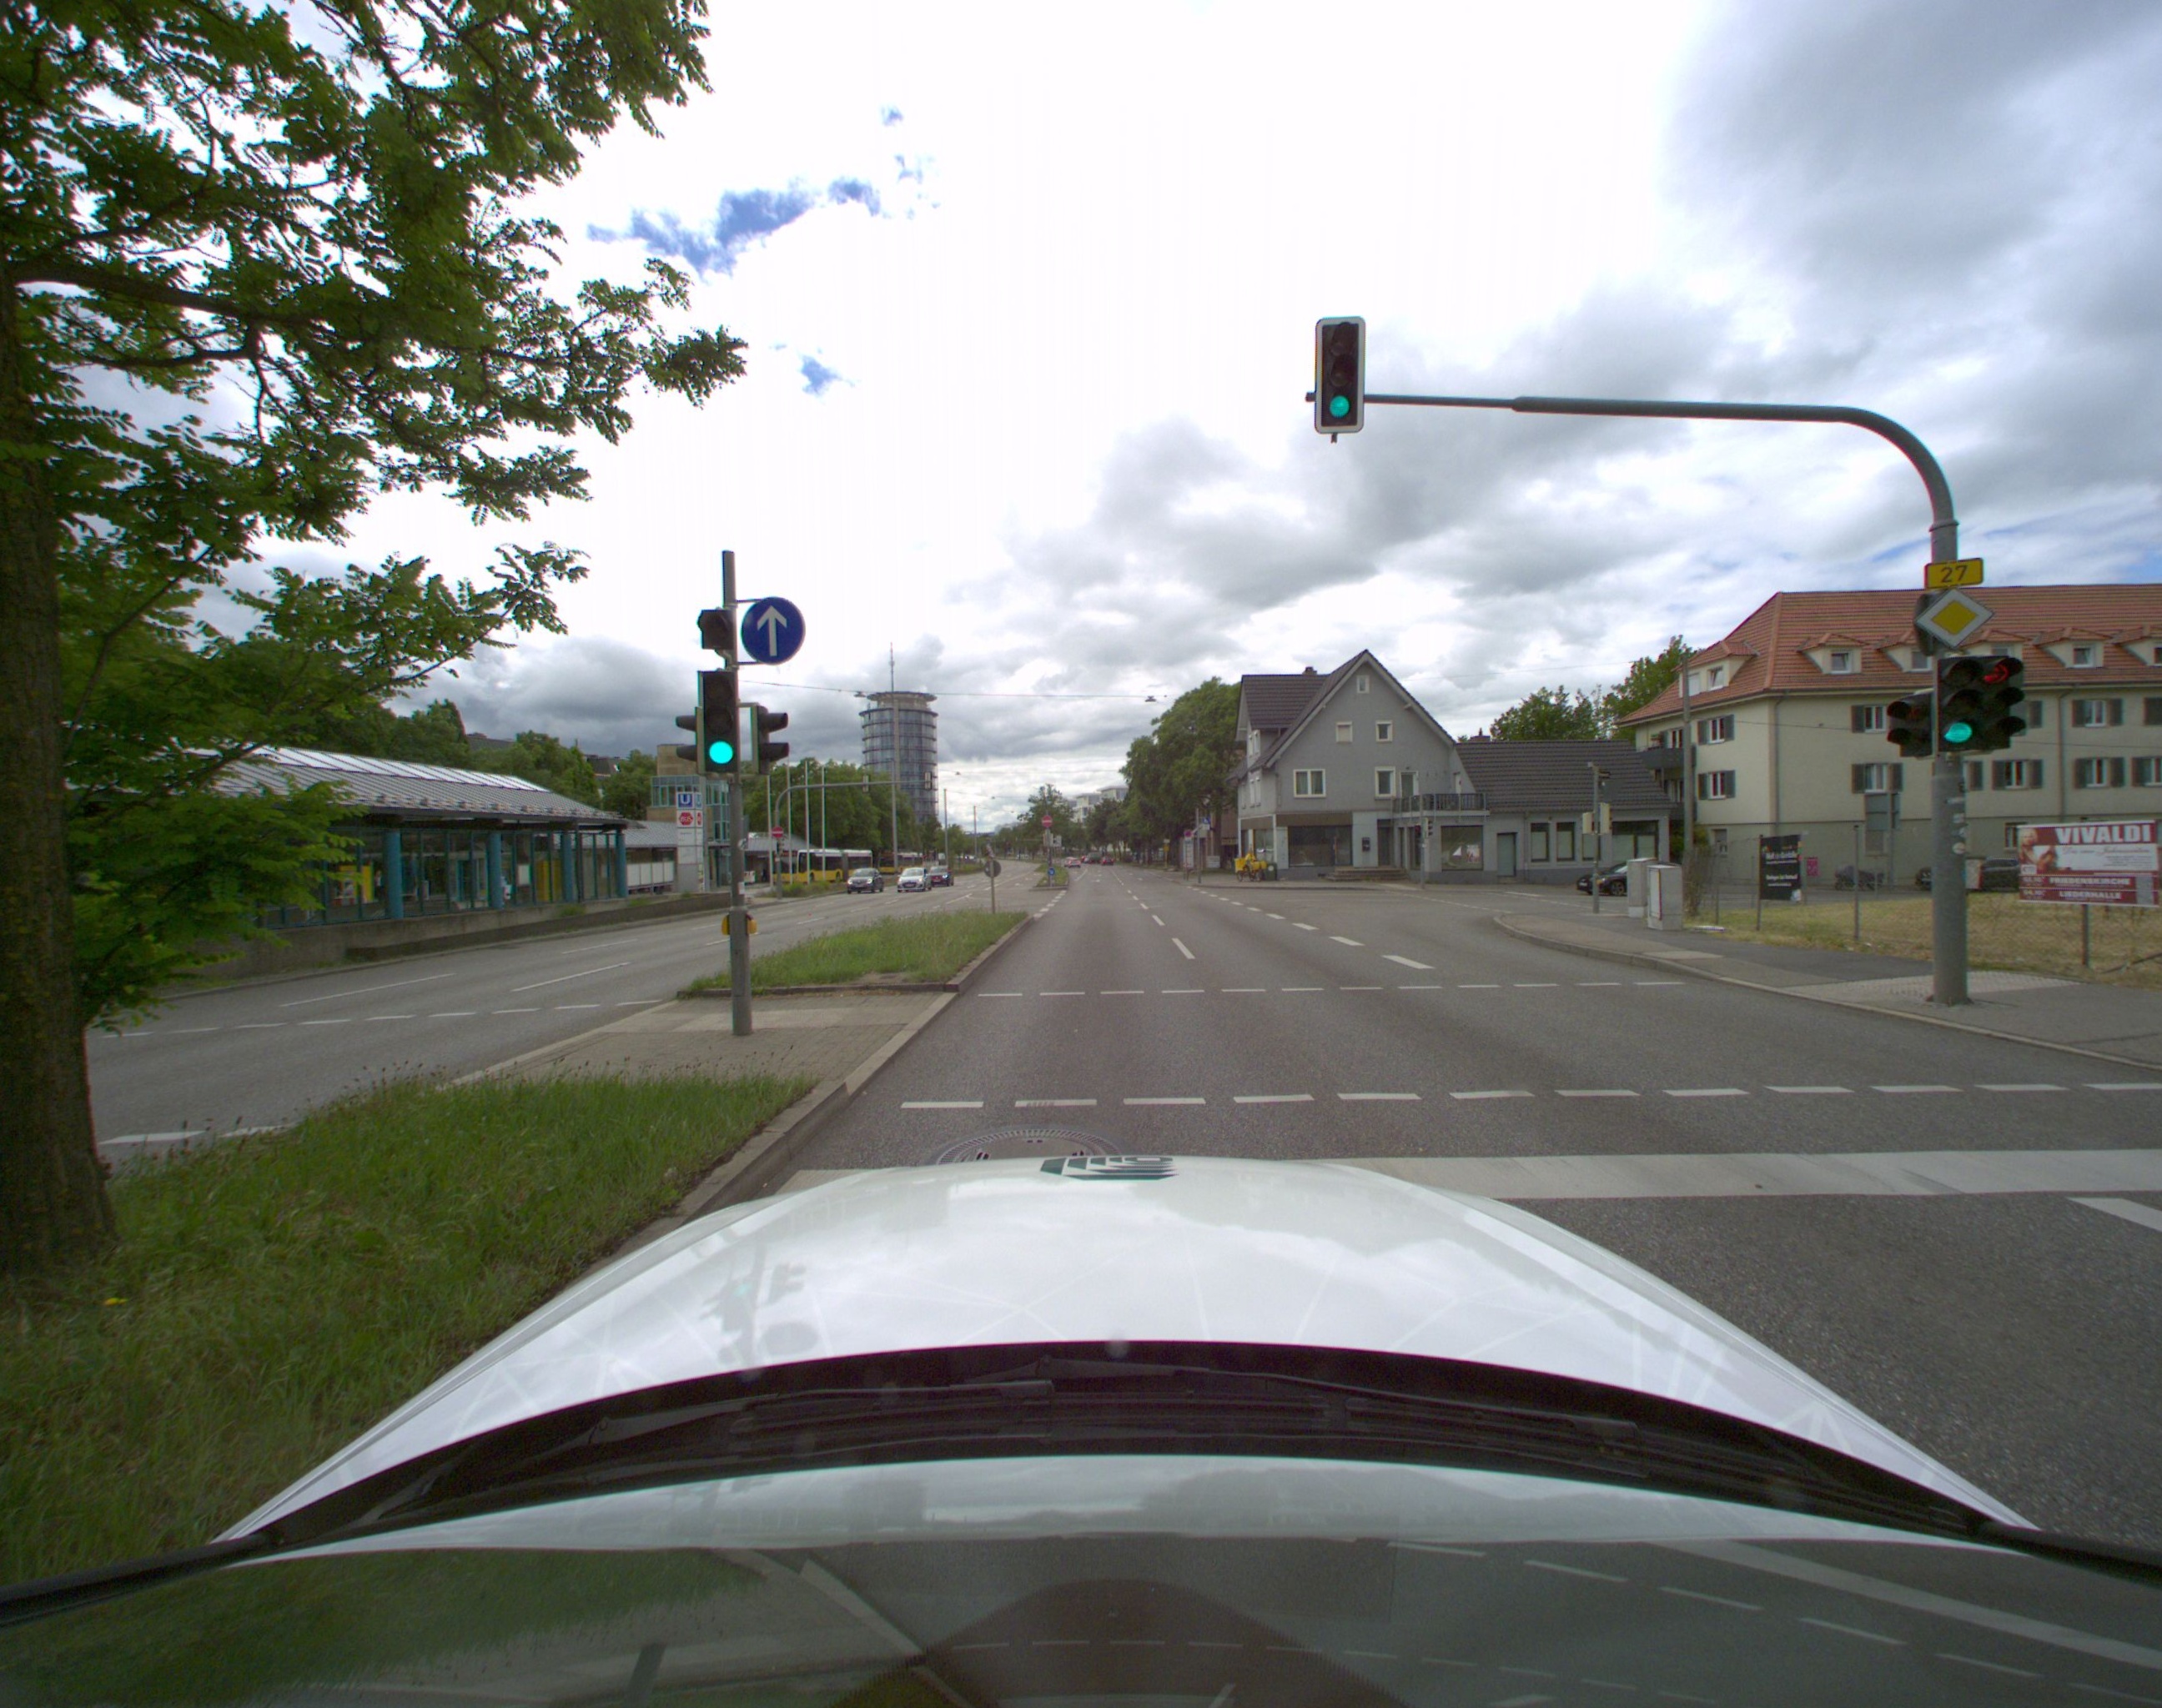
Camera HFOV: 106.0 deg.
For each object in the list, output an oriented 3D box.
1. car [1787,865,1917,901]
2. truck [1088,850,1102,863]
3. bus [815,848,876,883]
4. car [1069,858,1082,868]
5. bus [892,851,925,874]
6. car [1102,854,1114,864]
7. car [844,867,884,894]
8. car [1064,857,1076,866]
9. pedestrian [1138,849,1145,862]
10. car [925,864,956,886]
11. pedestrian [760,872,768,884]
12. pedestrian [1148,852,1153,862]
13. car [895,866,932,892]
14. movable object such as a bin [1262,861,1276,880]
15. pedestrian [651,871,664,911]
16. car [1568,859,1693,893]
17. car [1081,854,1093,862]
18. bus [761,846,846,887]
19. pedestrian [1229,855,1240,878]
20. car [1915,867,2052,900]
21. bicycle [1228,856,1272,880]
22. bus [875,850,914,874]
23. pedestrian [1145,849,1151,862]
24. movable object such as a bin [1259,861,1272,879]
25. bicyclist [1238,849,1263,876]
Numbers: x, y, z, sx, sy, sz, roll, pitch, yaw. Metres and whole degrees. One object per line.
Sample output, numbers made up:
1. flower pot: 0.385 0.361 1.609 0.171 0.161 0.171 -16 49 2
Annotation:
1. car: 34.014 1.259 36.008 3.972 1.537 1.871 0 0 2
2. truck: 2.679 0.534 156.054 2.246 2.417 4.927 -1 0 -3
3. bus: -23.398 1.121 81.237 2.975 3.270 7.888 -2 -1 6
4. car: -0.878 1.335 126.526 1.987 1.477 4.255 -2 -1 0
5. bus: -26.100 1.241 123.693 3.134 3.225 7.764 -2 -1 0
6. car: 4.455 0.786 134.002 1.880 1.494 4.104 -1 1 4
7. car: -13.526 1.623 50.903 1.681 1.579 3.344 -2 -1 -4
8. car: -1.803 1.267 137.053 1.817 1.540 4.113 -3 -1 0
9. pedestrian: 9.937 0.233 133.834 0.967 2.014 0.981 0 -1 1
10. car: -10.247 1.515 59.586 1.697 1.492 3.560 -2 -1 -1
11. pedestrian: -27.440 2.073 70.482 0.521 1.057 0.588 -1 -1 1
12. pedestrian: 11.868 0.539 138.355 0.649 1.570 0.669 -2 -1 -7
13. car: -10.373 1.525 50.695 1.680 1.462 3.552 -2 -1 -3
14. movable object such as a bin: 10.001 0.851 43.343 0.527 0.979 0.737 -2 -1 2
15. pedestrian: -17.355 1.505 33.364 0.420 1.591 0.353 -1 -1 -28
16. car: 22.812 0.884 33.909 3.975 1.377 1.869 0 0 -1
17. car: 1.207 0.945 173.485 2.246 1.647 4.927 -2 -1 -3
18. bus: -24.366 1.078 72.238 2.975 3.250 10.186 -2 -1 6
19. pedestrian: 12.718 1.066 67.305 0.702 1.781 0.871 5 -6 6
20. car: 39.784 1.287 35.972 3.972 1.377 1.871 0 0 2
21. bicycle: 8.879 0.753 43.004 1.078 1.217 2.420 -2 -1 -22
22. bus: -26.154 1.139 114.685 3.135 3.225 10.282 -2 -1 0
23. pedestrian: 11.031 0.240 133.669 0.967 1.976 0.981 0 -1 1
24. movable object such as a bin: 10.007 0.852 44.134 0.527 0.979 0.737 -2 -1 2
25. bicyclist: 8.916 0.460 42.905 1.079 1.357 0.623 -2 -1 -23
